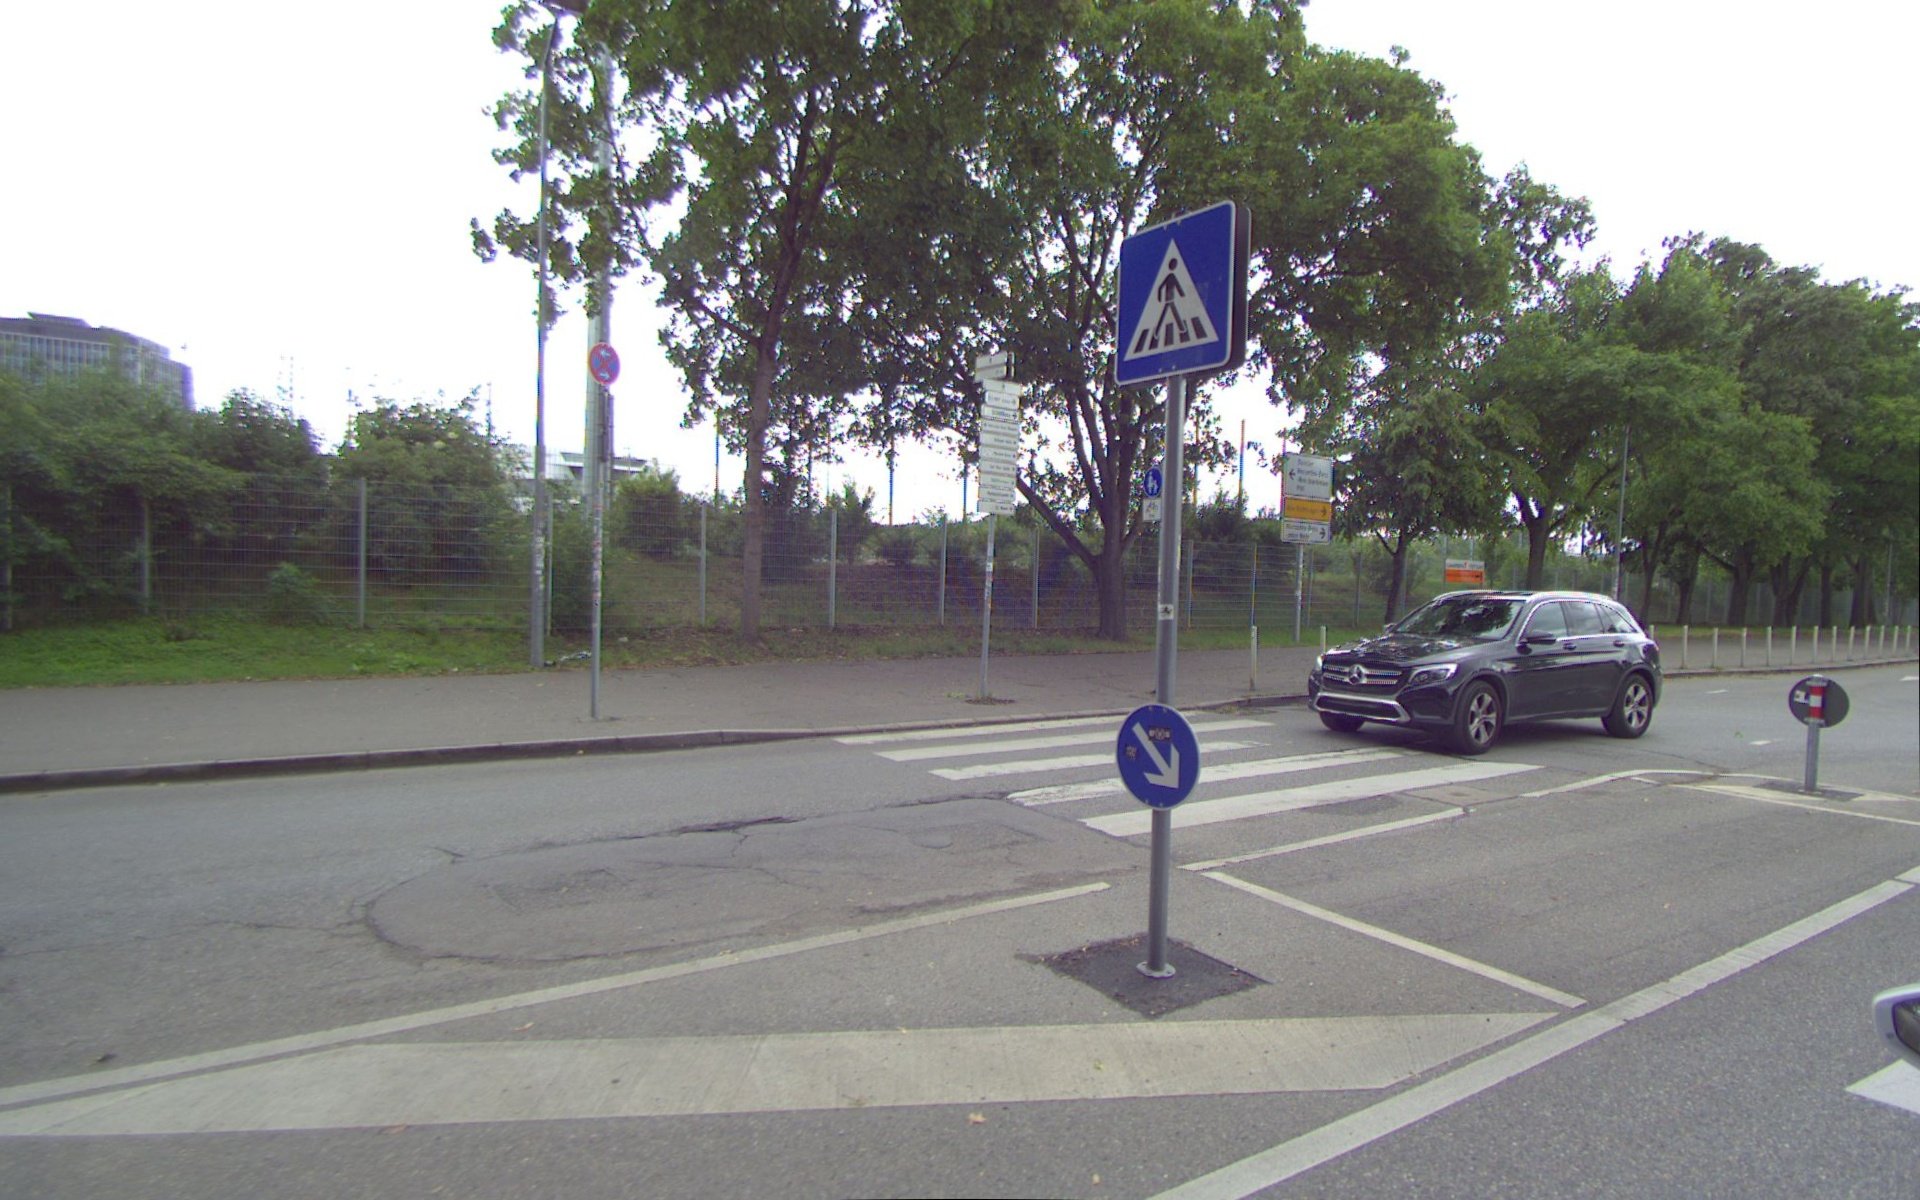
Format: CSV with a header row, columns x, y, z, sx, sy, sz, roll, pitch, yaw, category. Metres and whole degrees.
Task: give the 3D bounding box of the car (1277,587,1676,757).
x,y,z,sx,sy,sz,roll,pitch,yaw,category
5.942,0.702,11.447,4.494,1.595,1.831,1,1,-29,car
